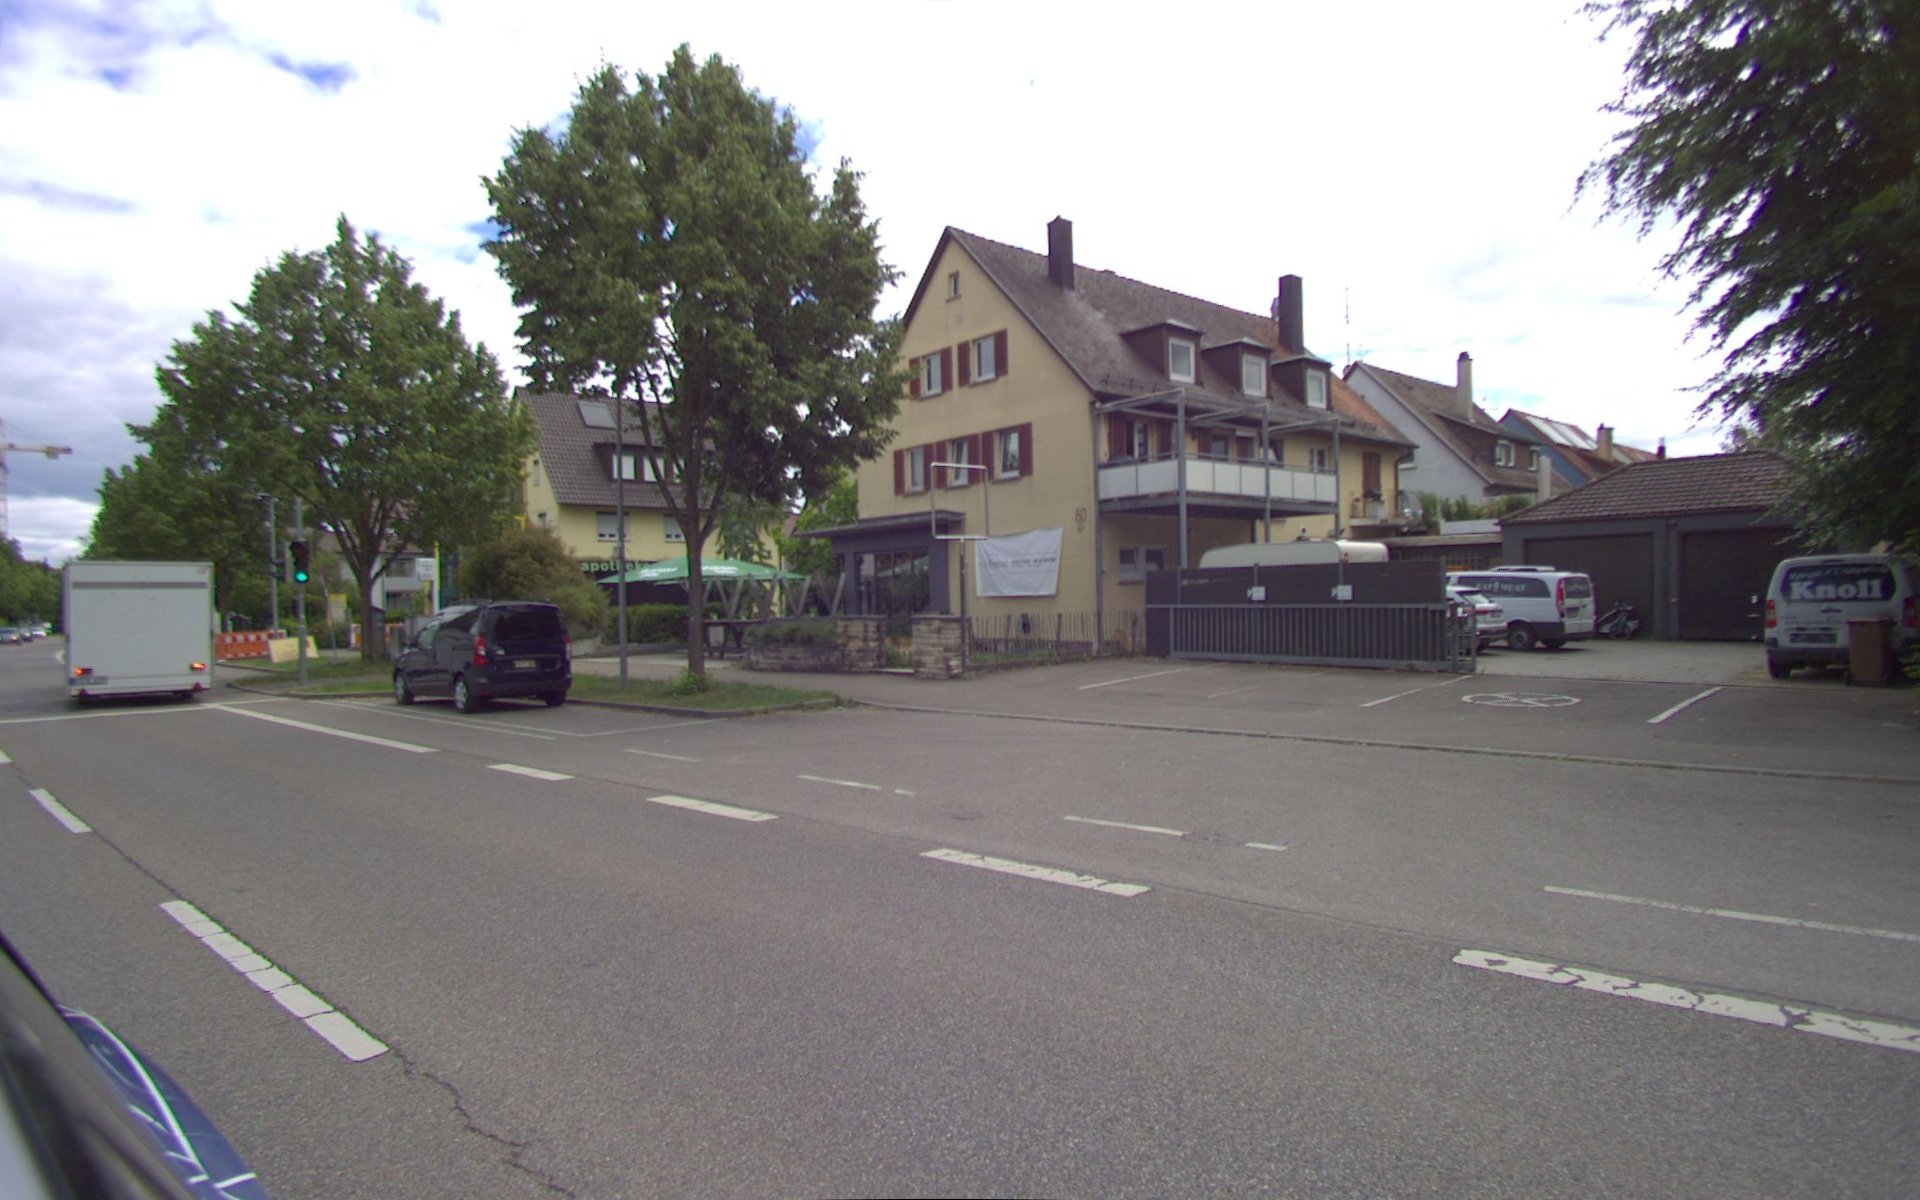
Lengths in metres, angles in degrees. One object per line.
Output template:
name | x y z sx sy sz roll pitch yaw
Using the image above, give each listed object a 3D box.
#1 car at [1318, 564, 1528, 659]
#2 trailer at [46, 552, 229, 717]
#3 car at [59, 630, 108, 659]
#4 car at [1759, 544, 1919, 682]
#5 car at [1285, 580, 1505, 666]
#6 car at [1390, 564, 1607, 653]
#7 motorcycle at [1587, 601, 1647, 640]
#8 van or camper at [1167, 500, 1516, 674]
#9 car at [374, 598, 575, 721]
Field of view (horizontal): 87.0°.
car | 10.760 0.282 23.769 1.967 2.029 4.010 -1 -1 -35
trailer | -17.330 0.672 21.343 2.601 2.900 6.882 -1 -1 -40
car | -51.723 2.574 59.786 1.862 1.586 4.009 -1 -1 -37
car | 13.649 0.183 15.155 3.938 1.807 1.924 0 -1 -41
car | 9.307 0.484 21.963 1.816 1.674 4.010 -1 -1 -34
car | 13.343 0.219 25.345 1.967 2.029 4.339 -1 -1 -34
motorcycle | 17.207 0.538 26.511 0.626 0.973 1.149 -1 -1 -39
van or camper | 7.310 -0.166 20.056 2.563 2.905 5.947 -1 -1 -40
car | -8.592 0.965 17.714 4.398 1.888 1.688 -2 -1 43
